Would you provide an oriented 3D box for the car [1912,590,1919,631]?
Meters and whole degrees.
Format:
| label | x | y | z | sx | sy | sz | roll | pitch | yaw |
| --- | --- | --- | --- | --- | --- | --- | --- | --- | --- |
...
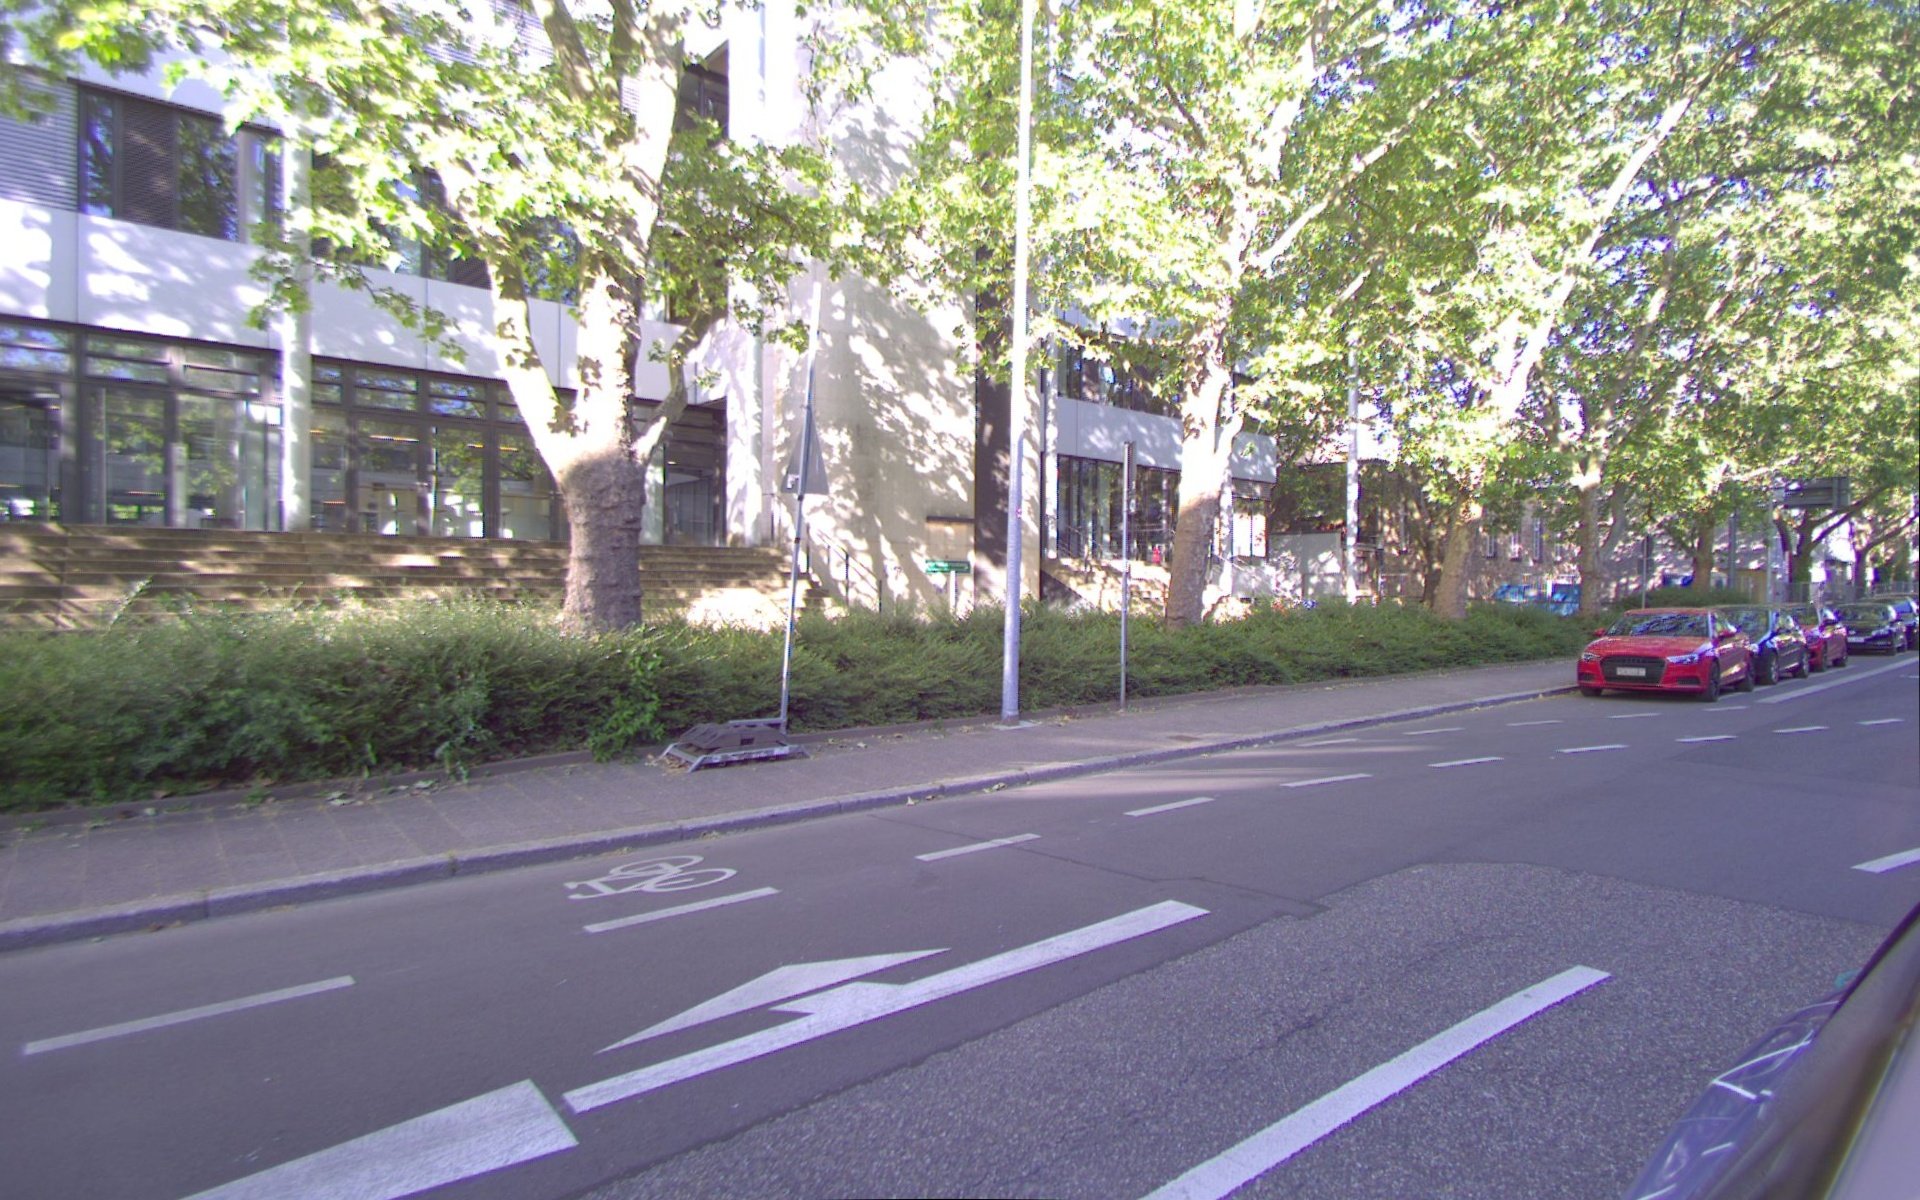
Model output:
| label | x | y | z | sx | sy | sz | roll | pitch | yaw |
| --- | --- | --- | --- | --- | --- | --- | --- | --- | --- |
| car | 39.173 | 0.402 | 40.141 | 3.801 | 1.581 | 1.684 | 0 | 1 | -41 |

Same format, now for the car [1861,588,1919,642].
| label | x | y | z | sx | sy | sz | roll | pitch | yaw |
| --- | --- | --- | --- | --- | --- | --- | --- | --- | --- |
| car | 29.982 | 0.436 | 32.067 | 3.770 | 1.640 | 1.684 | 0 | 1 | -41 |

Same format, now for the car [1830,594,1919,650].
| label | x | y | z | sx | sy | sz | roll | pitch | yaw |
| --- | --- | --- | --- | --- | --- | --- | --- | --- | --- |
| car | 26.482 | 0.575 | 29.113 | 3.930 | 1.469 | 1.684 | 0 | 1 | -41 |

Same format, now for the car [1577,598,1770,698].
| label | x | y | z | sx | sy | sz | roll | pitch | yaw |
| --- | --- | --- | --- | --- | --- | --- | --- | --- | --- |
| car | 11.715 | 0.709 | 16.529 | 3.962 | 1.439 | 1.722 | 0 | -1 | -42 |

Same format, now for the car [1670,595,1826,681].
| label | x | y | z | sx | sy | sz | roll | pitch | yaw |
| --- | --- | --- | --- | --- | --- | --- | --- | --- | --- |
| car | 15.279 | 0.650 | 19.557 | 3.931 | 1.485 | 1.684 | 0 | 0 | -41 |

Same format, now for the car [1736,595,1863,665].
| label | x | y | z | sx | sy | sz | roll | pitch | yaw |
| --- | --- | --- | --- | --- | --- | --- | --- | --- | --- |
| car | 19.080 | 0.612 | 22.952 | 3.715 | 1.452 | 1.664 | 0 | 1 | -41 |

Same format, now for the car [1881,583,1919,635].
| label | x | y | z | sx | sy | sz | roll | pitch | yaw |
| --- | --- | --- | --- | --- | --- | --- | --- | --- | --- |
| car | 34.436 | 0.292 | 36.123 | 4.354 | 1.790 | 1.818 | 0 | 1 | -41 |
